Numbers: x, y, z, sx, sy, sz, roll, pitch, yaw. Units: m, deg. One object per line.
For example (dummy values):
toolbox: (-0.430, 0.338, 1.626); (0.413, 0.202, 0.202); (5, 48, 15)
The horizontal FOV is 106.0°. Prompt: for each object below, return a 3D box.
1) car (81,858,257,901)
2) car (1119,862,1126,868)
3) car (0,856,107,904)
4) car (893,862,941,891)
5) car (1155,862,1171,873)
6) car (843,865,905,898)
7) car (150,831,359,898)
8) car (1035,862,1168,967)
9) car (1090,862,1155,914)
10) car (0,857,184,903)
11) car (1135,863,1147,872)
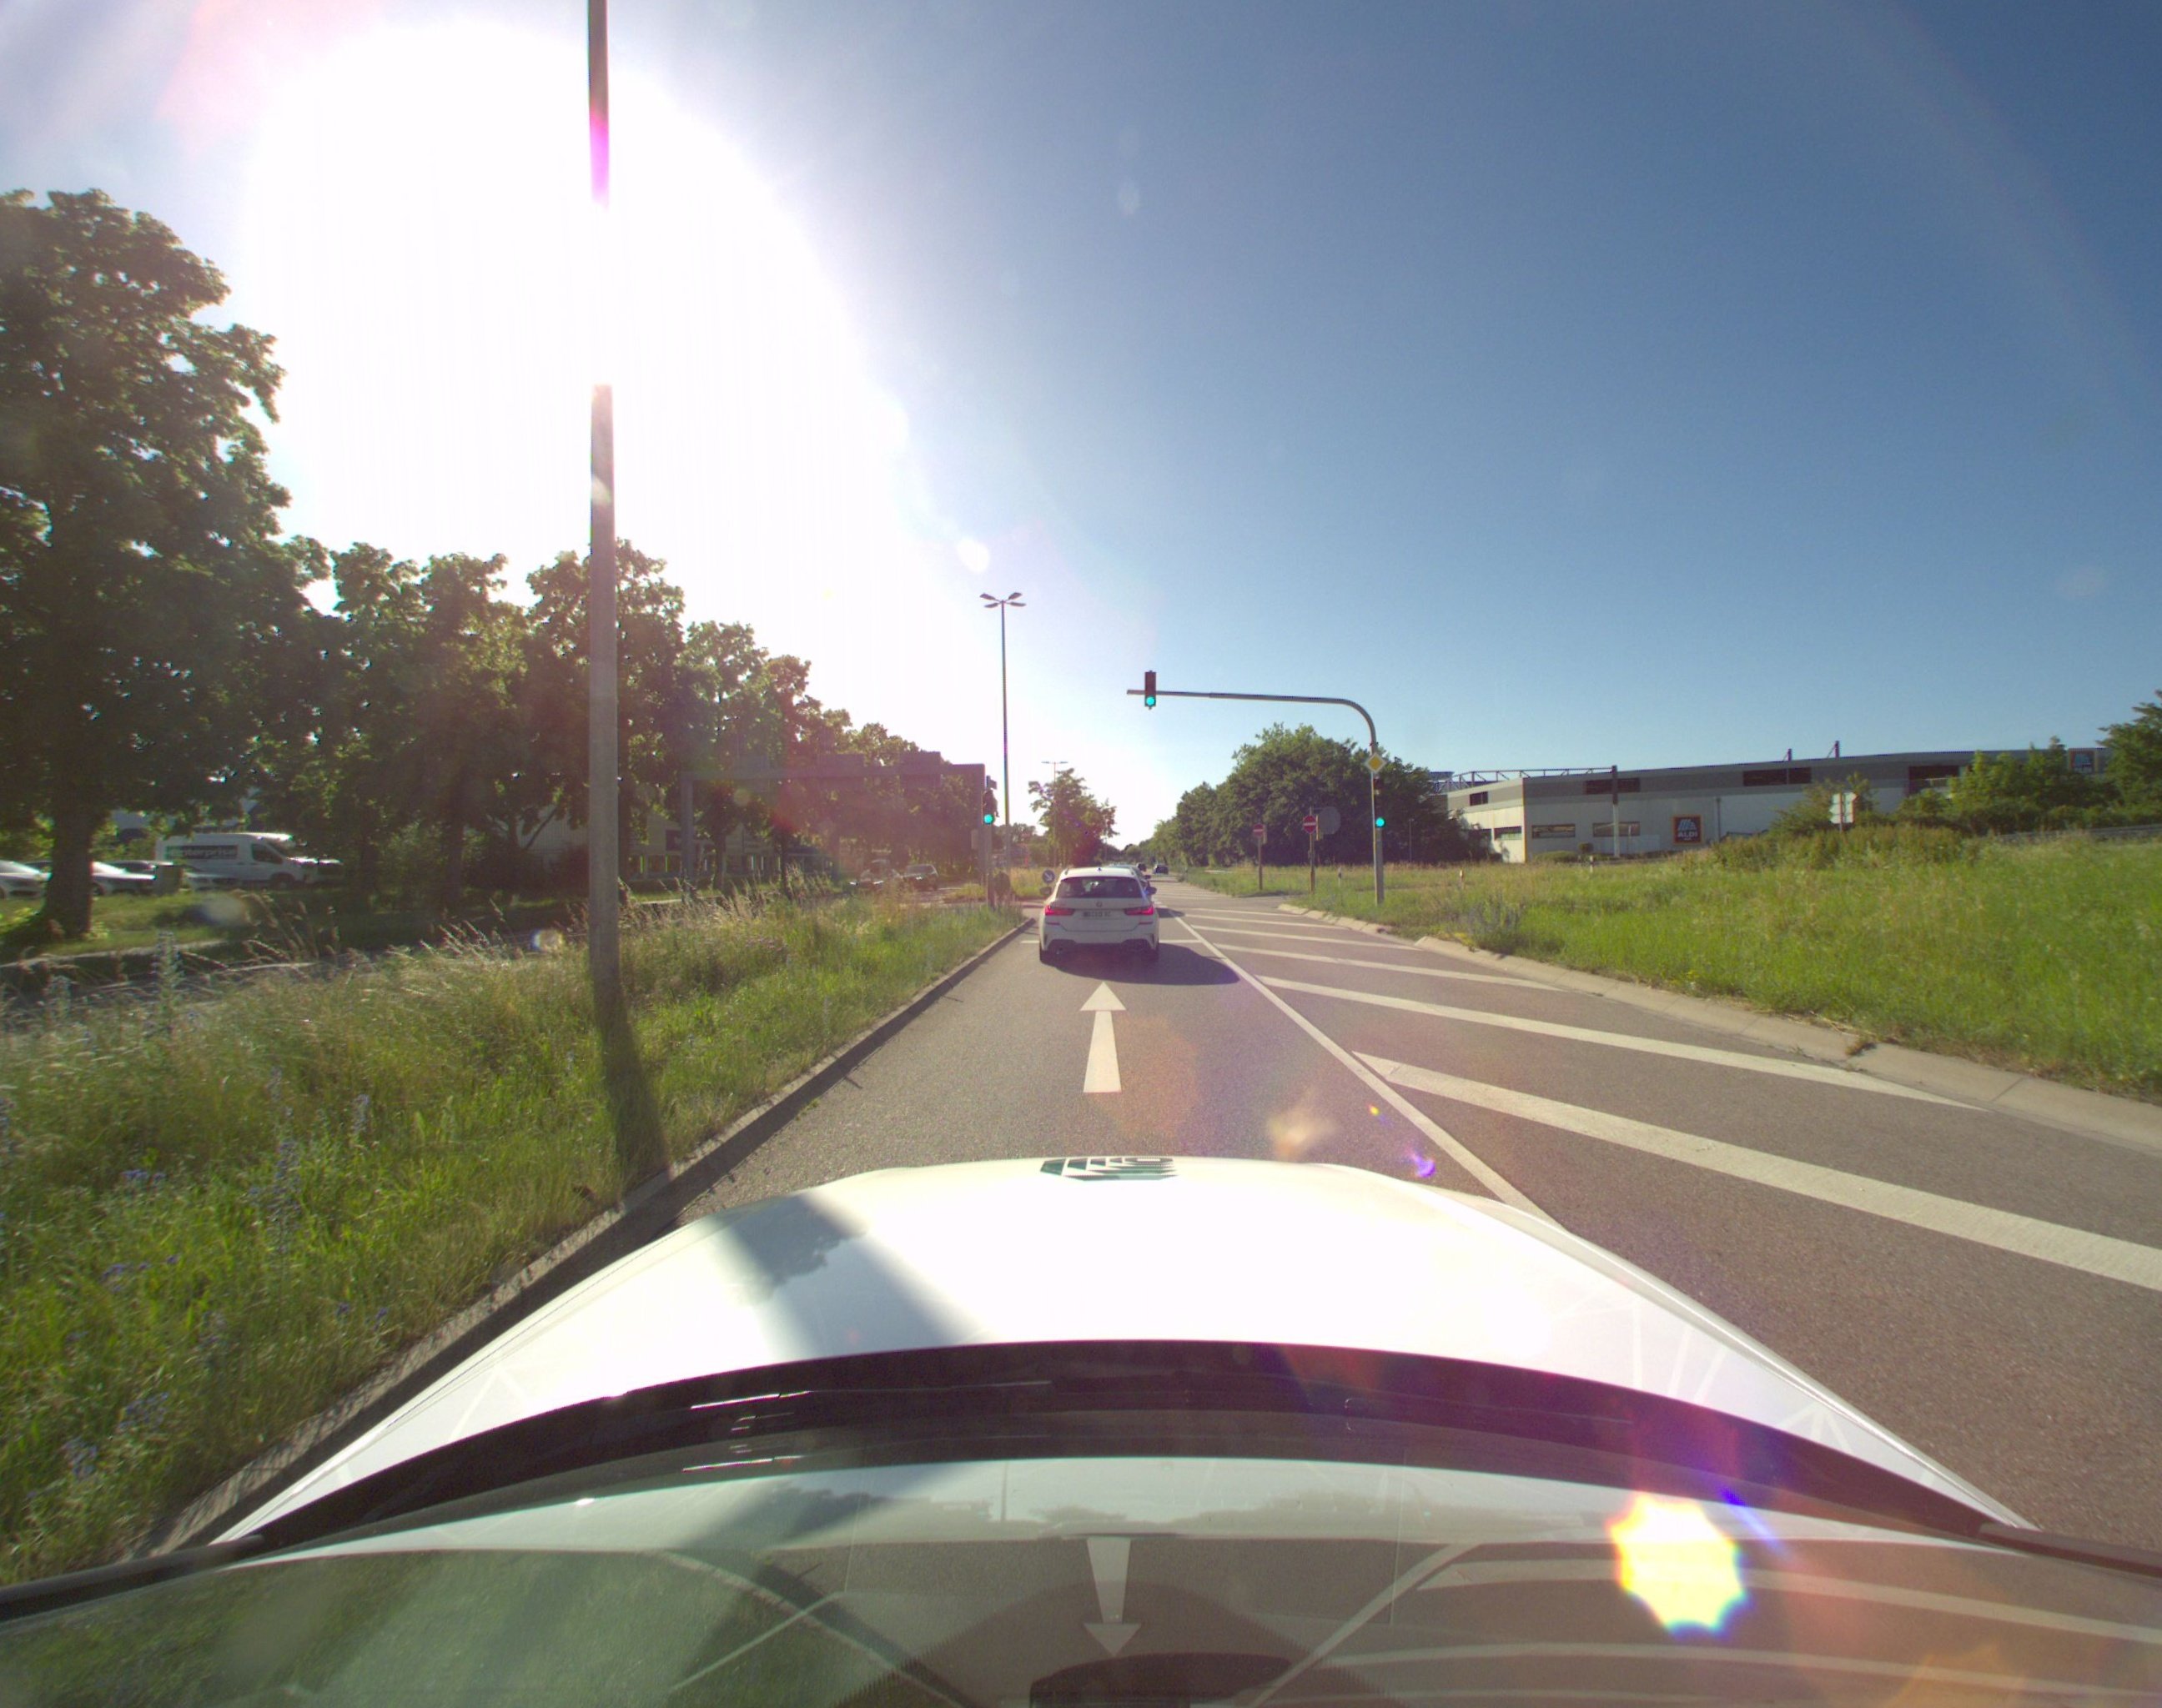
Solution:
car: (-33.188, 0.907, 29.733); (4.107, 1.388, 1.945); (-1, -1, -2)
car: (11.200, 3.010, 219.100); (1.854, 1.565, 4.549); (-1, -1, 2)
car: (-32.649, 0.806, 24.553); (4.107, 1.388, 1.945); (-1, -1, -2)
car: (-10.619, 1.444, 53.026); (1.935, 1.697, 4.632); (-3, 0, 2)
car: (10.946, 1.788, 109.436); (1.854, 1.499, 4.338); (-1, -1, 2)
car: (-10.835, 1.423, 42.889); (1.869, 1.543, 4.575); (-3, -1, 2)
car: (-32.669, 0.416, 32.327); (5.861, 2.433, 2.205); (-1, -1, -2)
car: (0.392, 0.877, 13.749); (1.854, 1.455, 4.550); (0, -1, 2)
car: (1.272, 1.012, 25.723); (1.854, 1.455, 4.549); (-1, -1, 2)
car: (-33.053, 0.856, 27.118); (4.107, 1.388, 1.945); (-1, -1, -2)
car: (10.436, 2.346, 141.760); (1.765, 1.555, 3.833); (-1, -1, 1)
